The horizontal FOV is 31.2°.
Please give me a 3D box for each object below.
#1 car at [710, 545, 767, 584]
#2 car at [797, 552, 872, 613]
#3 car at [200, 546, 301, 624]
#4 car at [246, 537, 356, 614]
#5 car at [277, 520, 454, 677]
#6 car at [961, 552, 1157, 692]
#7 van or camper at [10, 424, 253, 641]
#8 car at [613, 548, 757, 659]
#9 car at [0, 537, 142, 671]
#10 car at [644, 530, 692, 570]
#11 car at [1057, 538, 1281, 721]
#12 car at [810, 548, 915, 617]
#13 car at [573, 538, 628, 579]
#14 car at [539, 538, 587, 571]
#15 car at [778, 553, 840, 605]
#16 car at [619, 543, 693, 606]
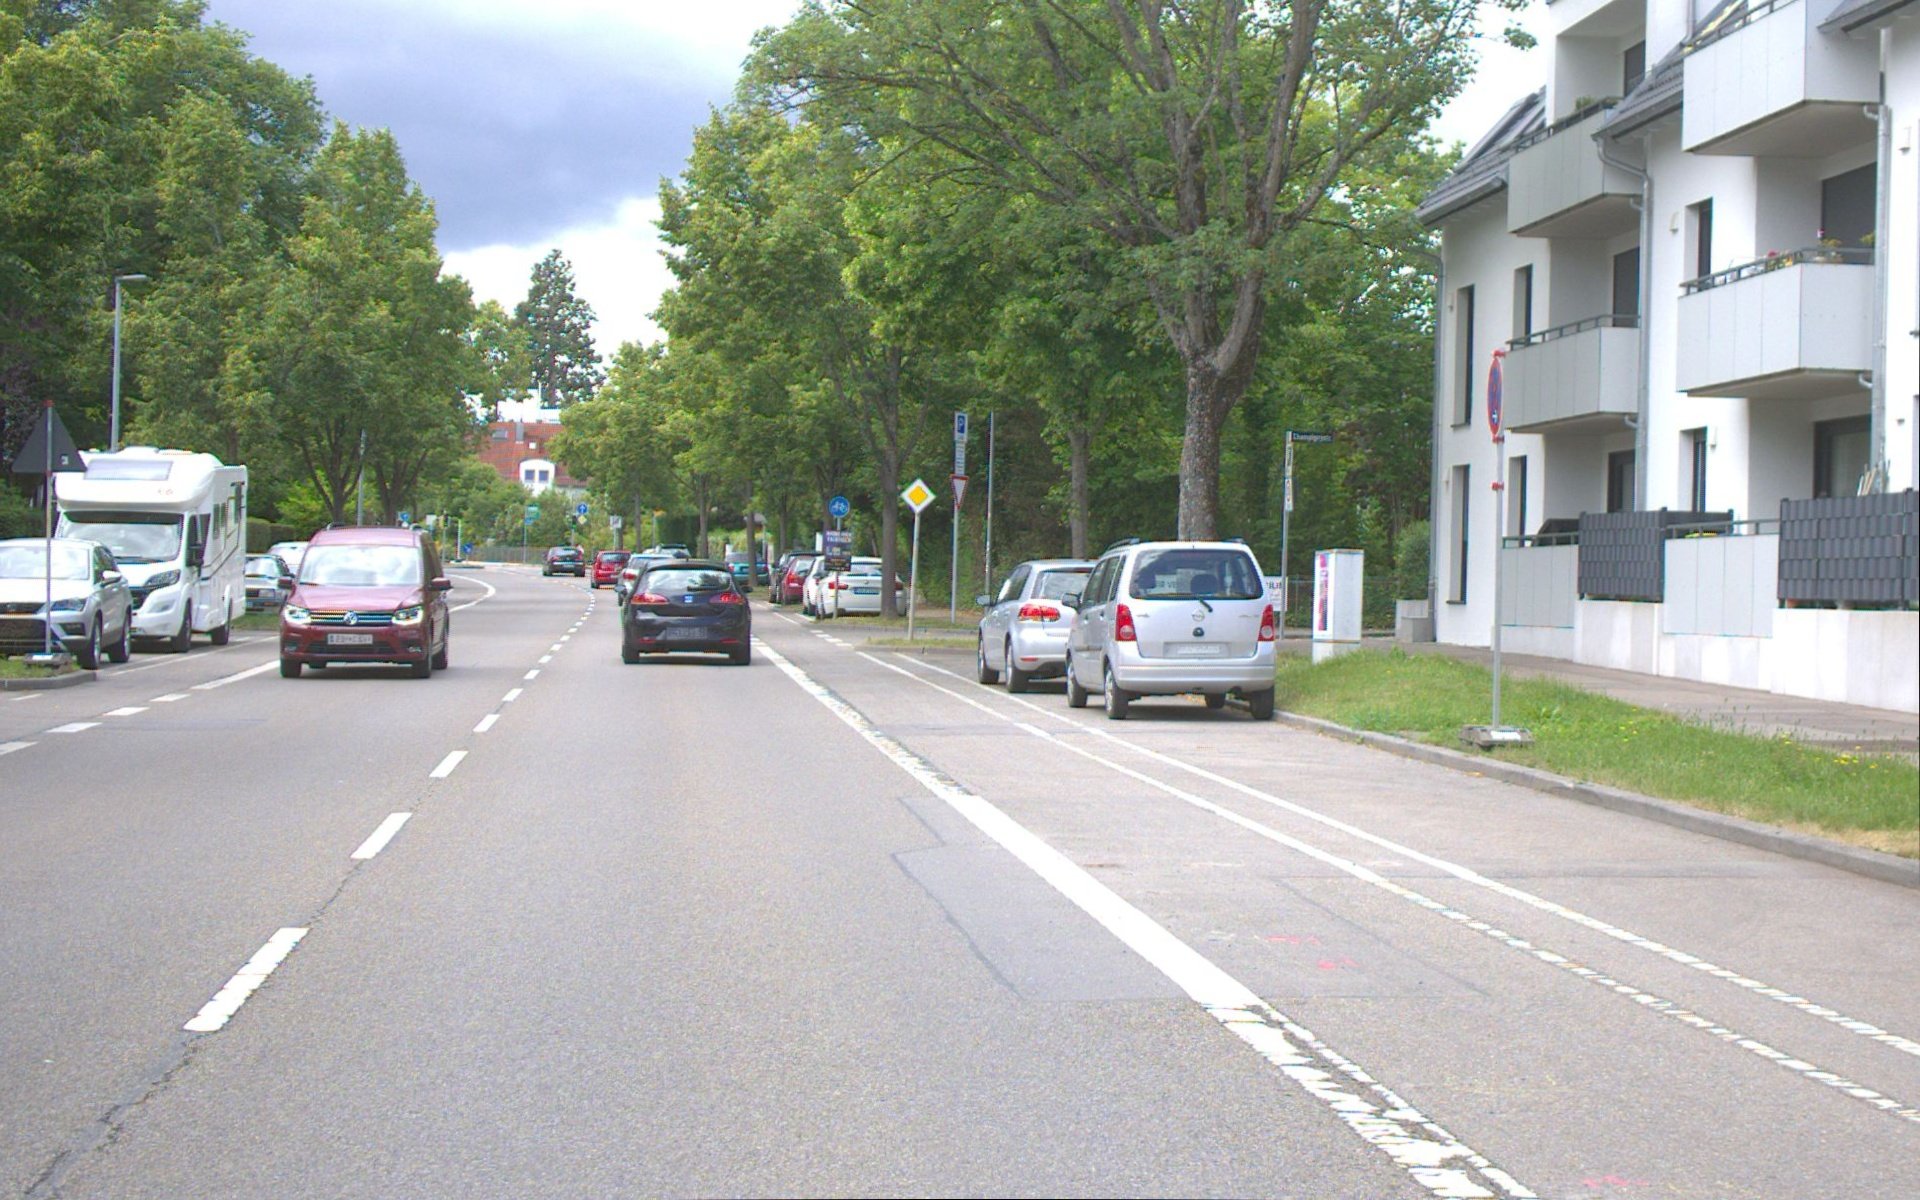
[{"bbox_3d":[-8.504,-1.382,131.783,1.682,1.427,4.045,1,1,-11],"label":"car"},{"bbox_3d":[-3.122,-0.447,85.168,1.615,1.455,3.658,1,1,-6],"label":"car"},{"bbox_3d":[-13.977,-0.325,67.893,1.555,1.465,4.453,1,1,-7],"label":"car"},{"bbox_3d":[-14.822,-0.573,77.545,1.817,1.646,4.700,1,1,-4],"label":"car"},{"bbox_3d":[-7.233,-0.050,42.180,1.760,1.797,4.770,1,1,-5],"label":"car"},{"bbox_3d":[1.075,0.209,39.176,1.687,1.488,4.228,1,1,-6],"label":"car"},{"bbox_3d":[-12.383,-0.994,51.944,2.435,2.999,7.694,1,1,-5],"label":"van or camper"},{"bbox_3d":[-3.833,0.025,47.456,1.783,1.444,3.559,1,1,-8],"label":"car"},{"bbox_3d":[-11.519,0.009,43.328,1.722,1.595,4.273,1,1,-5],"label":"car"},{"bbox_3d":[-13.505,-2.304,158.899,1.788,1.765,3.983,1,1,-10],"label":"car"},{"bbox_3d":[1.977,0.247,33.466,1.632,1.660,3.648,1,1,-5],"label":"car"},{"bbox_3d":[-2.208,-0.405,76.769,2.020,1.438,5.026,1,1,-5],"label":"car"},{"bbox_3d":[-13.859,-1.607,132.418,1.993,1.525,4.001,1,1,-7],"label":"car"},{"bbox_3d":[-19.159,-2.208,165.908,1.993,1.503,4.001,2,0,-10],"label":"car"},{"bbox_3d":[-4.272,-0.597,97.011,1.638,1.415,4.001,1,1,-4],"label":"car"},{"bbox_3d":[-8.524,-0.699,96.222,1.993,1.553,4.000,1,-2,-6],"label":"car"}]
